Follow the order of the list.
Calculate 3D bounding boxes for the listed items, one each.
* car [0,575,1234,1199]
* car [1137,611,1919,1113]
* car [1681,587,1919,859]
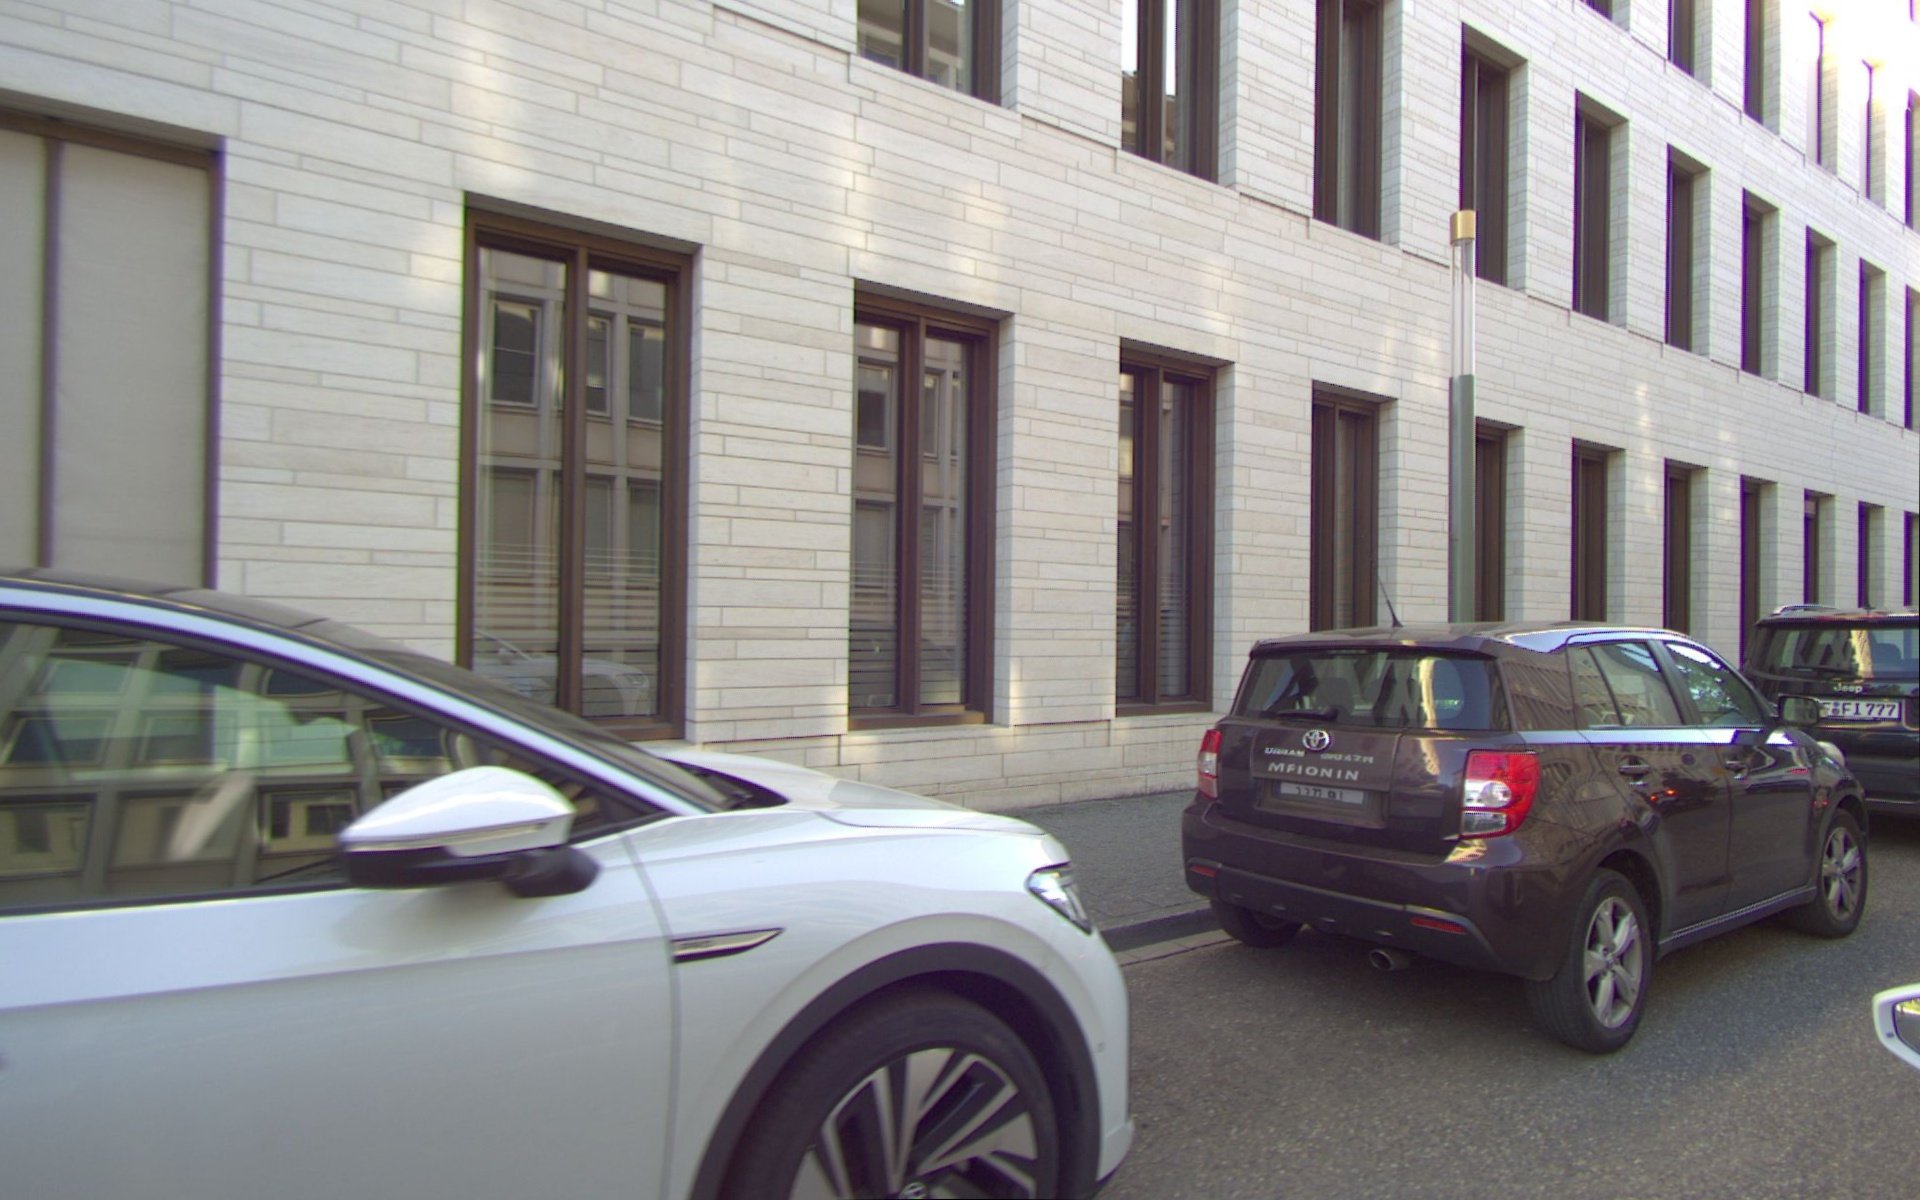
[{"bbox_3d":[-1.725,0.740,1.872,4.397,1.562,1.812,1,1,-32],"label":"car"},{"bbox_3d":[3.063,0.860,5.070,4.218,1.562,1.812,1,-1,-34],"label":"car"},{"bbox_3d":[7.589,0.840,7.883,3.975,1.737,1.812,1,-3,-34],"label":"car"}]
